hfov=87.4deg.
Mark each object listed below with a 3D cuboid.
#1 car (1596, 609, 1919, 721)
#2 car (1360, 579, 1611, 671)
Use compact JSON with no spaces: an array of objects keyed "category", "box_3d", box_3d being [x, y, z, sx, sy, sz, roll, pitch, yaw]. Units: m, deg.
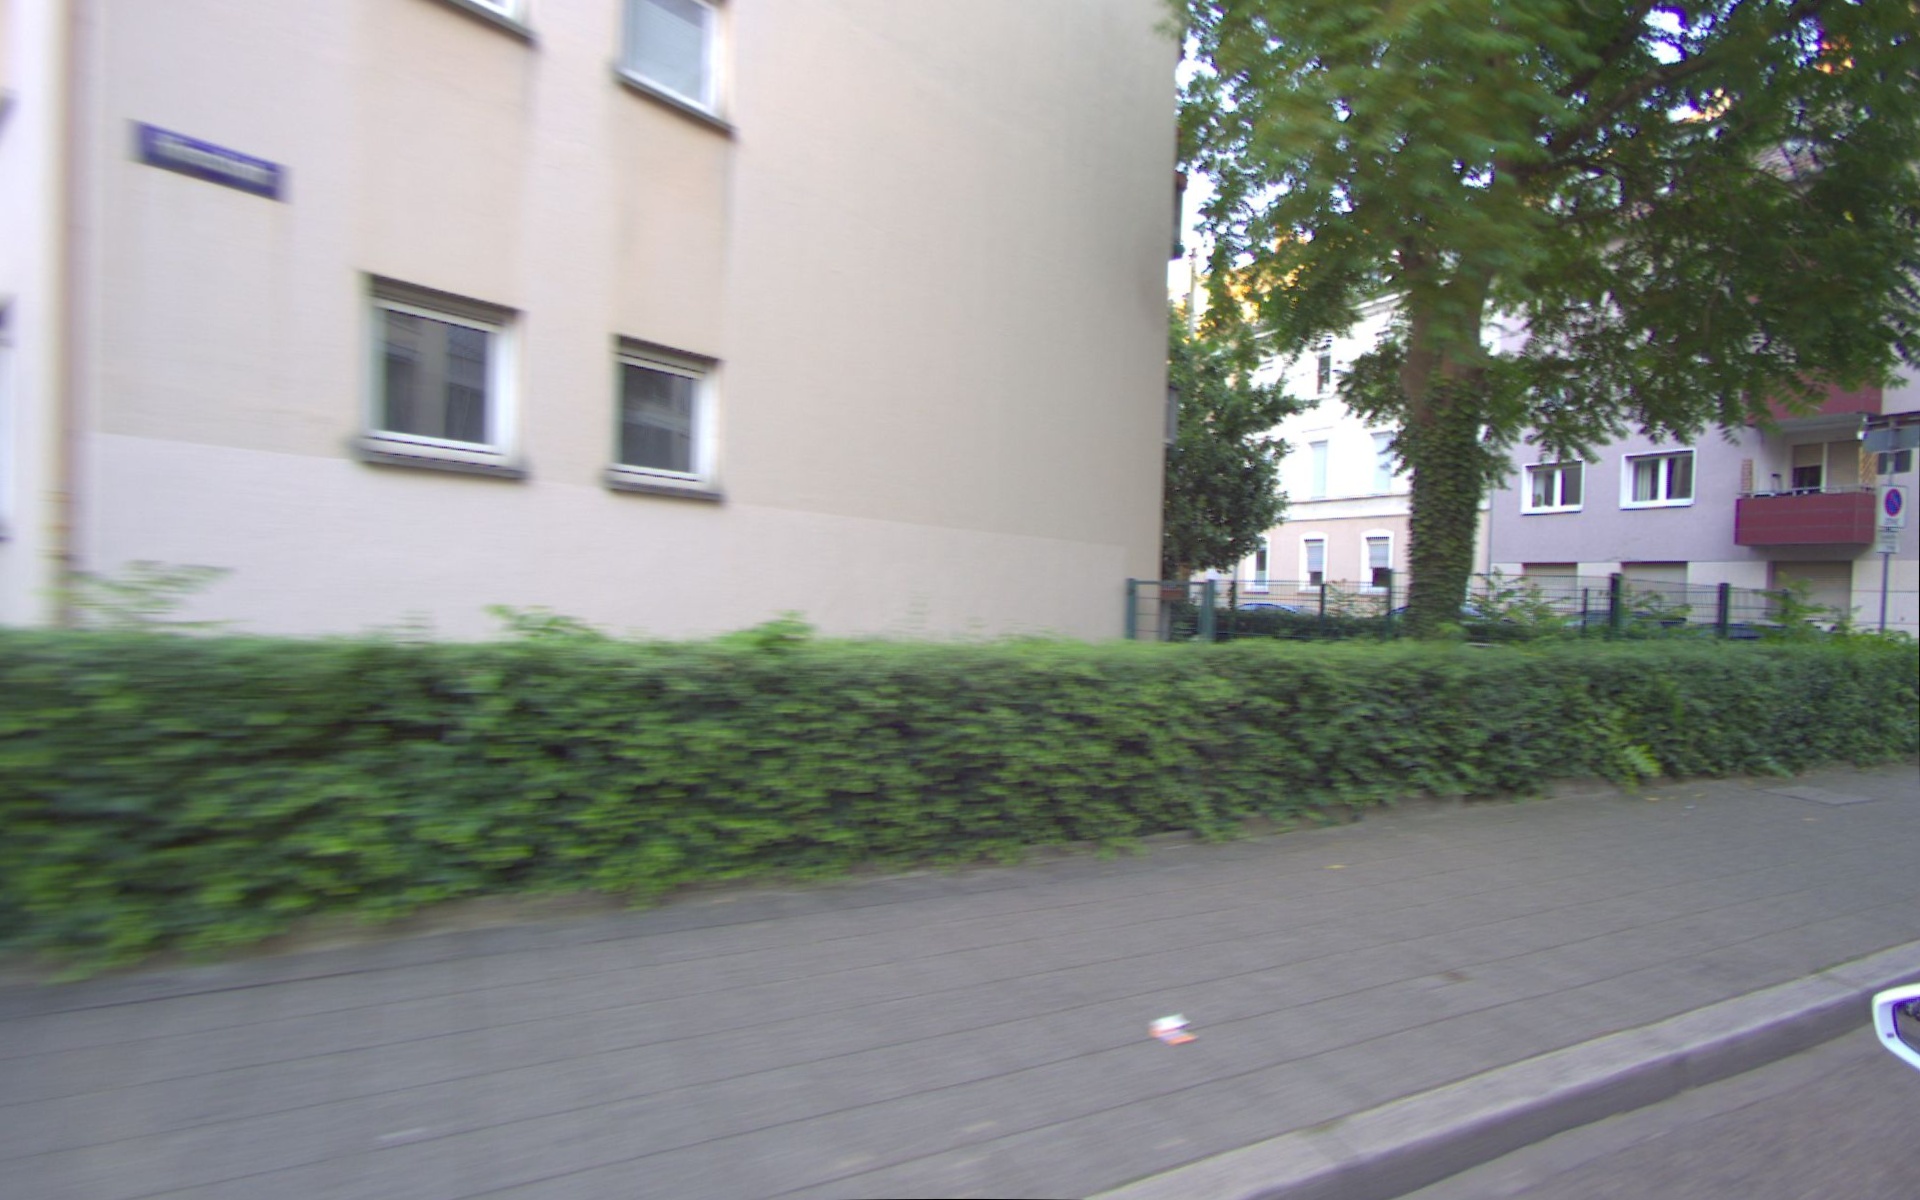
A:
[{"category":"car","box_3d":[13.126,0.948,16.427,1.666,1.477,4.325,1,0,-29]},{"category":"car","box_3d":[10.636,0.426,20.691,1.804,1.662,4.355,1,1,-26]}]
